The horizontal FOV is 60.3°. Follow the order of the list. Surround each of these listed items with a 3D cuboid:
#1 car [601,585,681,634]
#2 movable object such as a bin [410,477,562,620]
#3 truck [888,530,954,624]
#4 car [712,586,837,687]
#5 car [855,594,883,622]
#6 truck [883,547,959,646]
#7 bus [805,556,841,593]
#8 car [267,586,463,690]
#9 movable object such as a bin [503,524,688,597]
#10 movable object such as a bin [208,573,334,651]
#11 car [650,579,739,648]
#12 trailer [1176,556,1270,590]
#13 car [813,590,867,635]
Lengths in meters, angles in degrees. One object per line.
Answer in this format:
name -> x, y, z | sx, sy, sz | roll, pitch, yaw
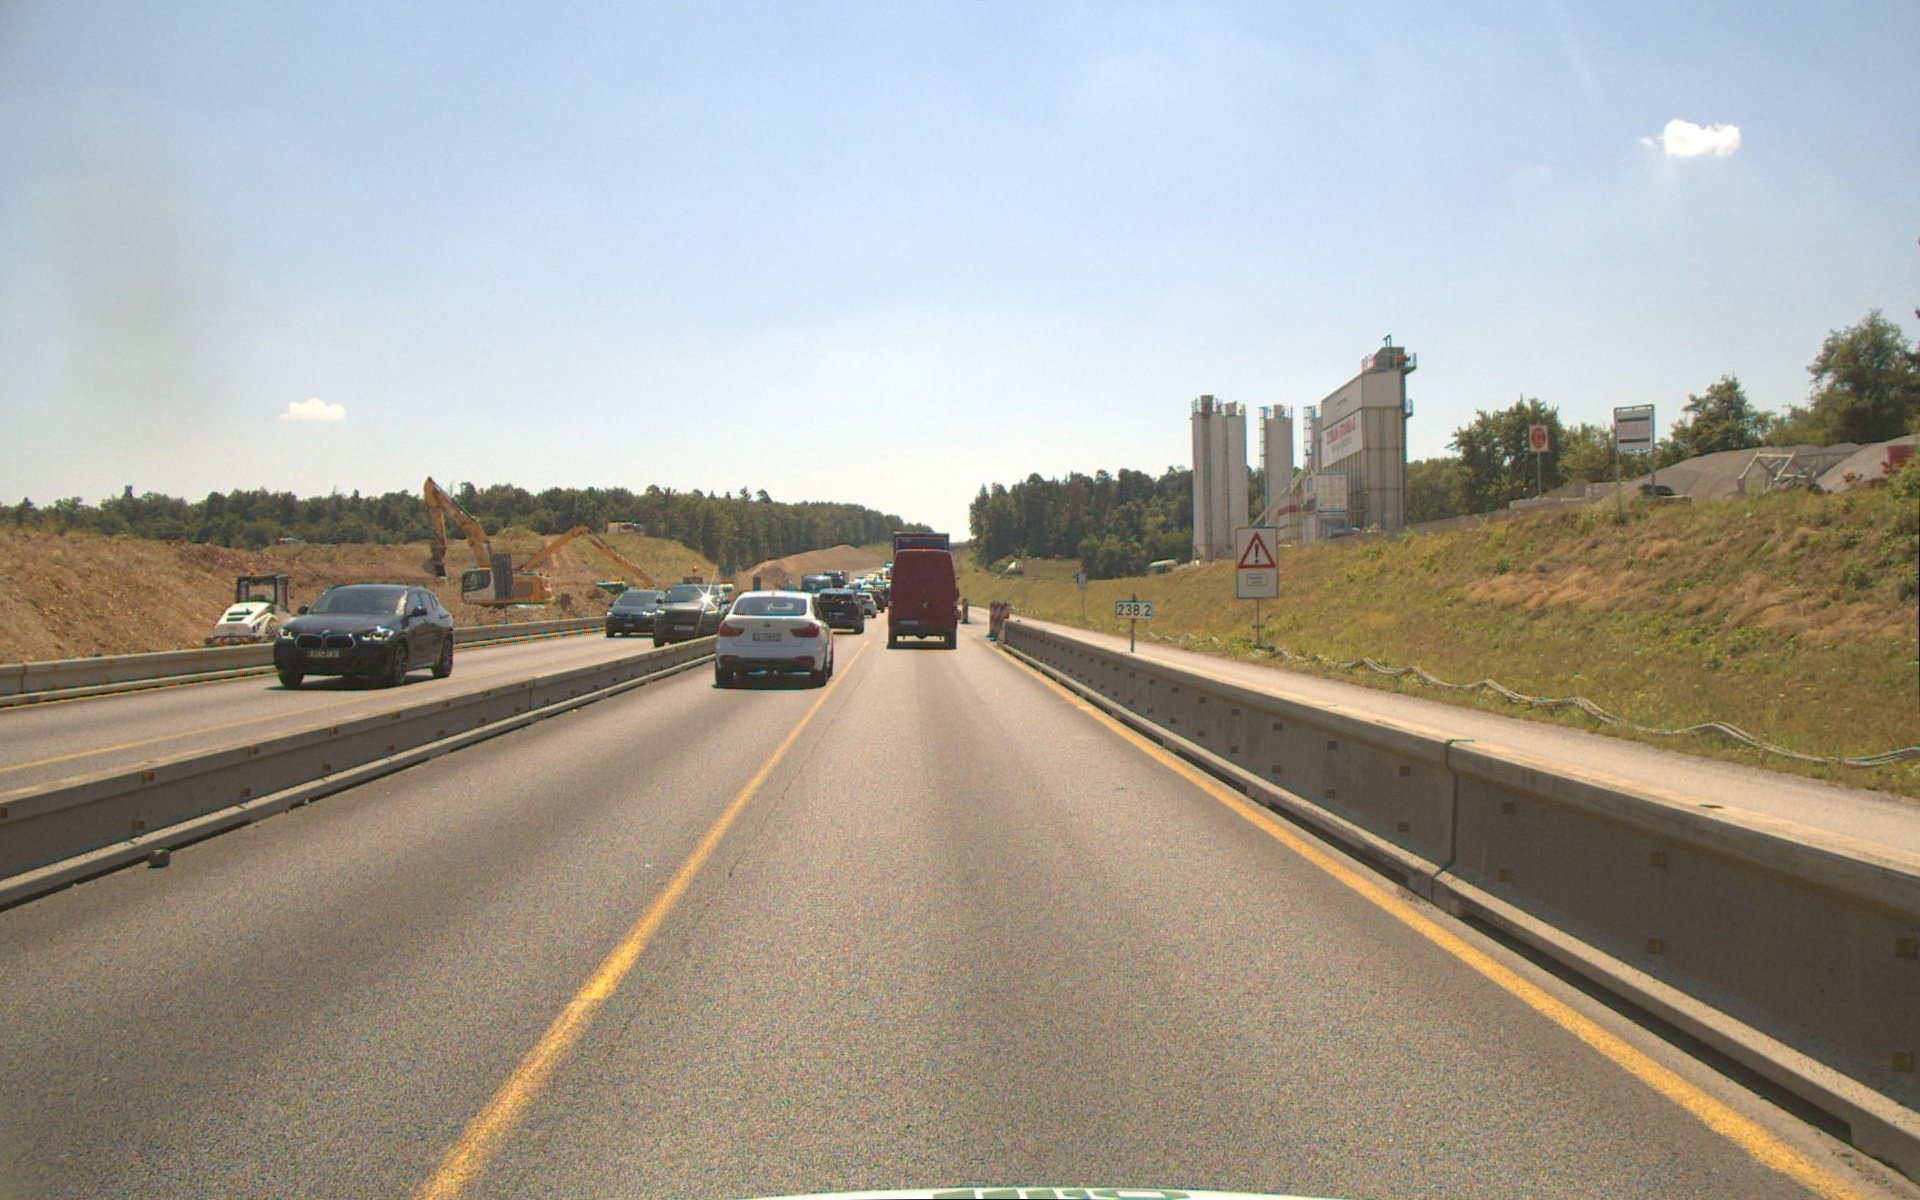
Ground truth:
car -> -10.432, 0.270, 54.371 | 1.823, 1.527, 4.575 | 0, 0, -2
movable object such as a bin -> -26.558, -2.843, 93.028 | 7.481, 7.848, 3.445 | 0, 0, -1
truck -> -1.830, -1.066, 78.357 | 2.954, 4.225, 8.270 | 0, 0, -1
car -> -3.083, 0.556, 28.340 | 1.759, 1.561, 5.070 | 0, 0, -3
car -> -6.690, 0.571, 121.737 | 1.953, 2.049, 3.999 | 0, 0, -1
truck -> -1.135, -0.124, 48.265 | 2.069, 2.679, 6.482 | 0, 0, -1
bus -> -17.250, -3.206, 209.835 | 3.864, 4.492, 17.192 | 0, 0, -3
car -> -9.425, 0.546, 26.558 | 1.690, 1.504, 4.391 | 0, 0, -2
movable object such as a bin -> -37.678, -4.055, 171.664 | 18.341, 7.357, 3.613 | 0, 0, -4
movable object such as a bin -> -23.478, 0.377, 56.676 | 1.667, 2.504, 6.742 | 0, 0, -2
car -> -7.128, 0.327, 44.812 | 1.736, 1.772, 5.037 | 0, 0, -2
trailer -> 26.483, -2.705, 166.696 | 8.852, 3.285, 3.316 | -1, 0, -17
car -> -4.354, 0.435, 60.354 | 1.759, 1.561, 3.930 | 0, 0, -1
